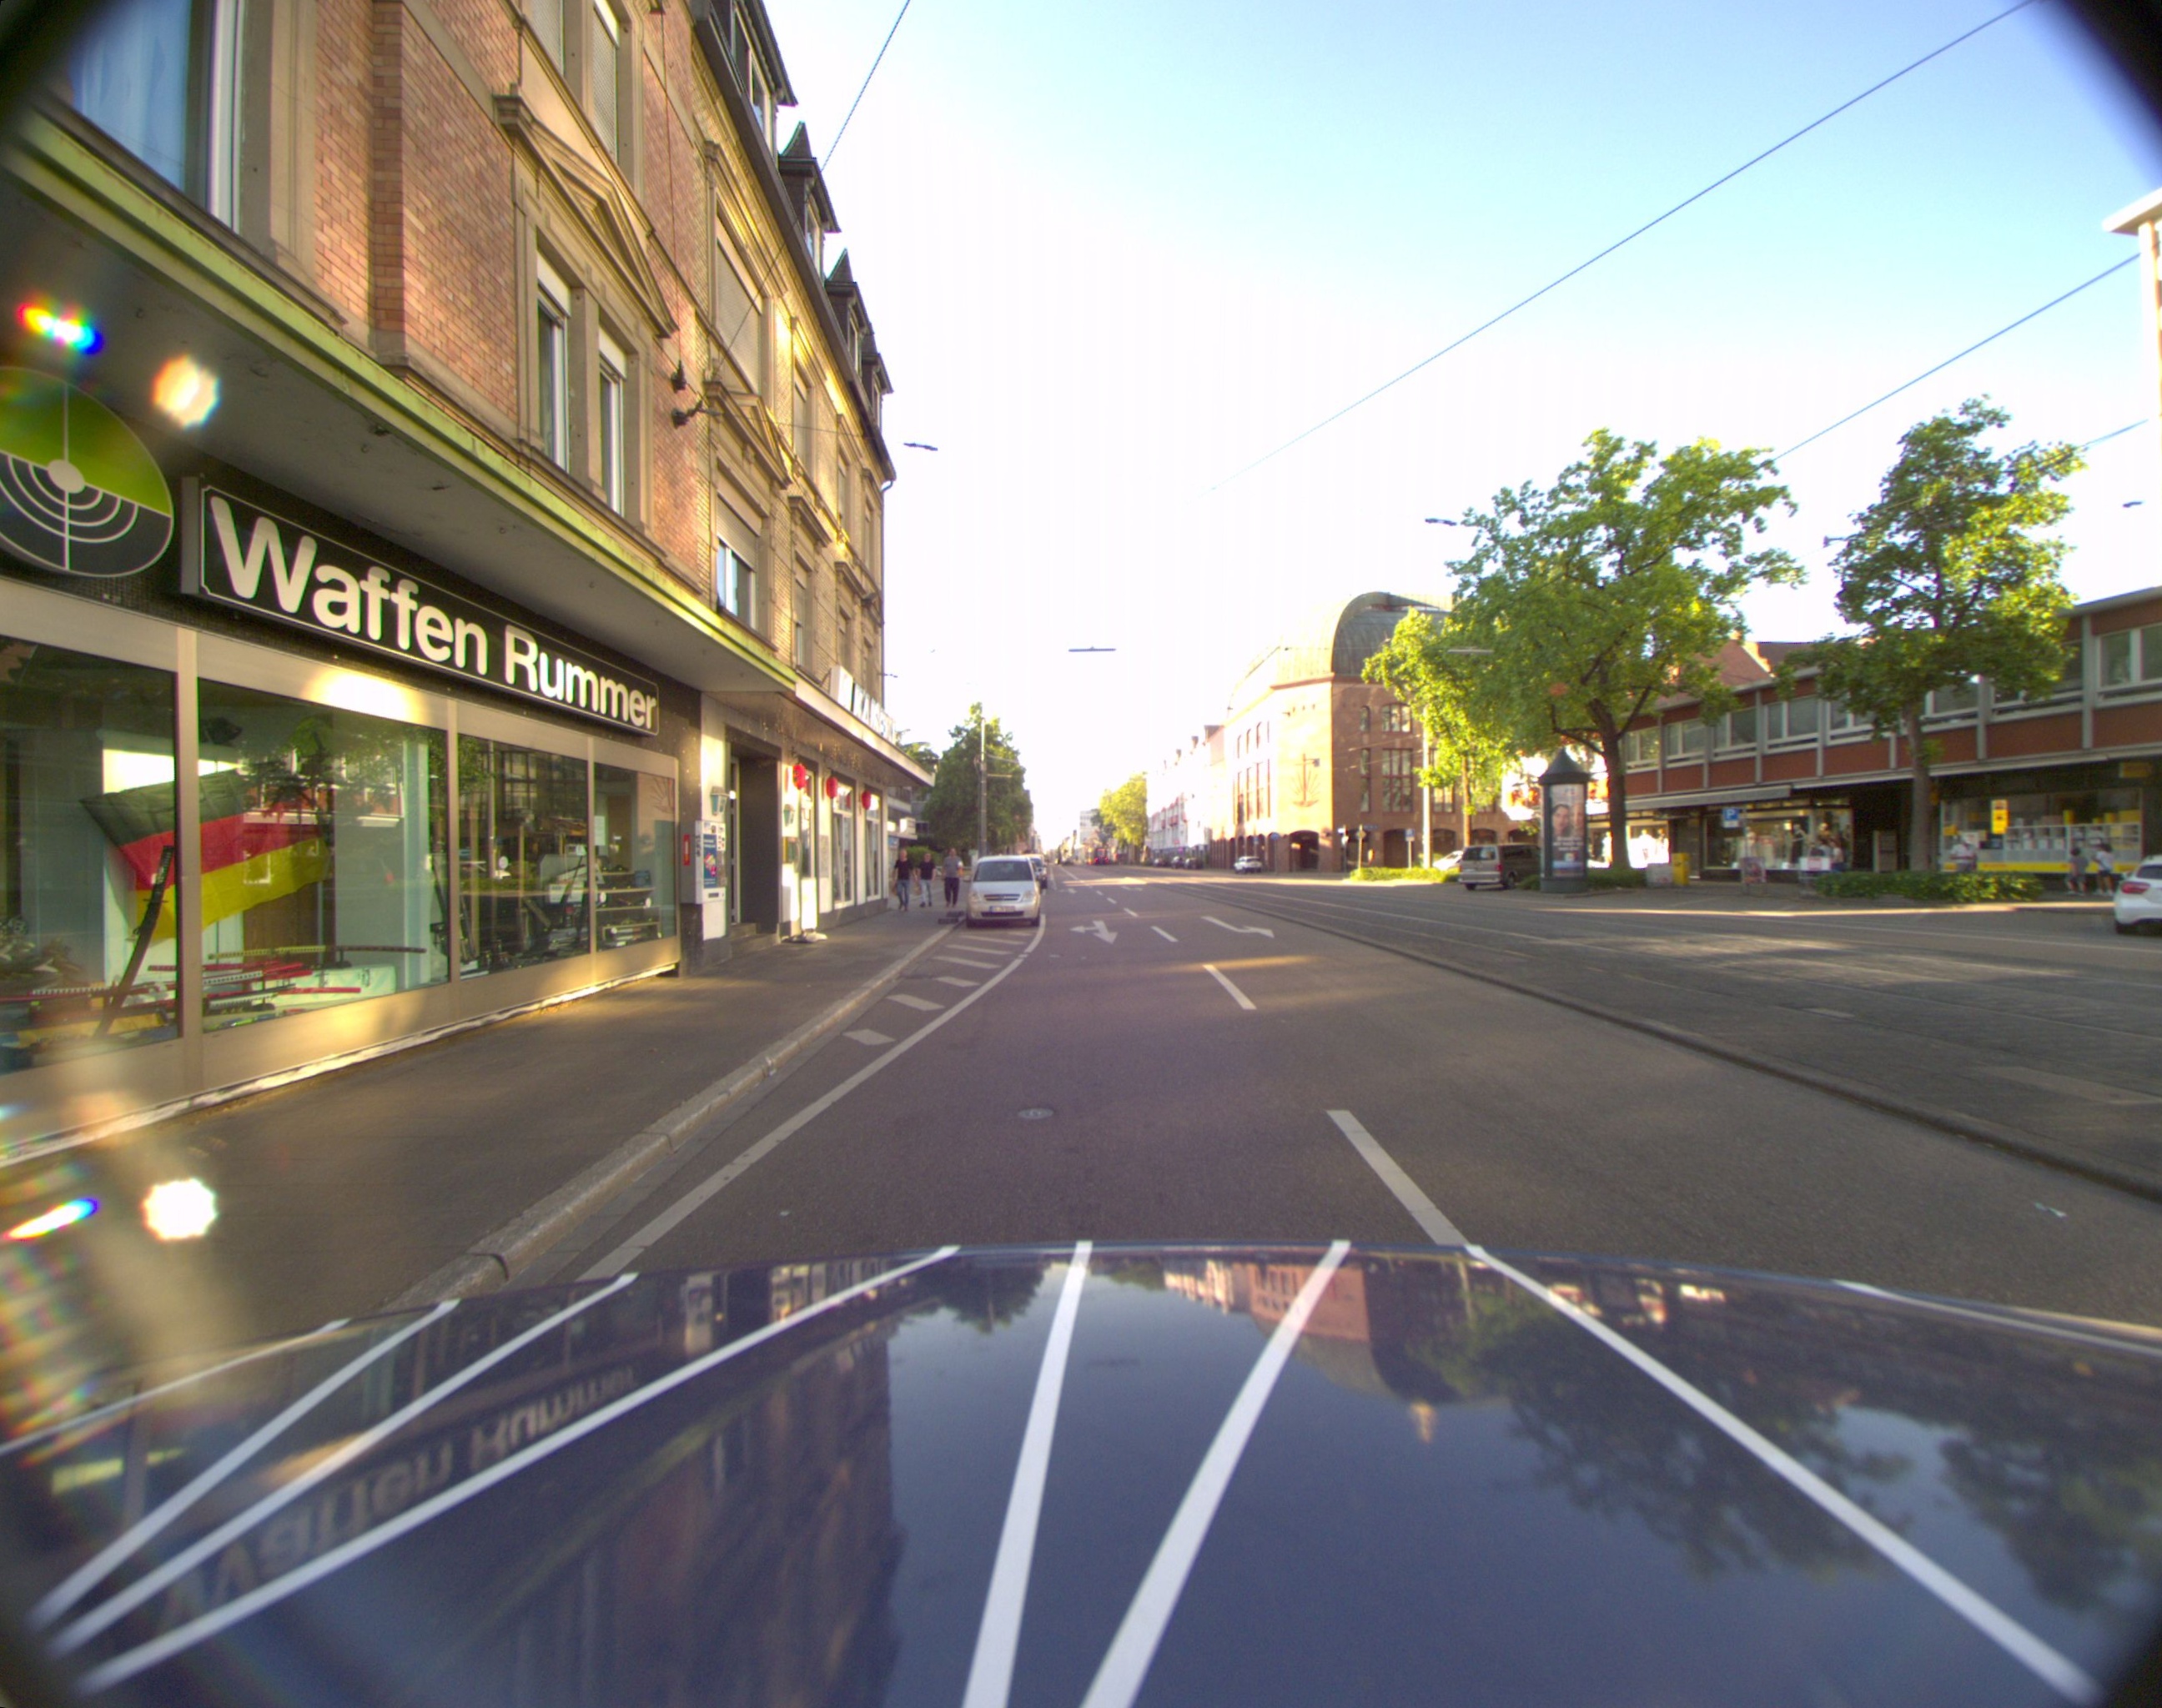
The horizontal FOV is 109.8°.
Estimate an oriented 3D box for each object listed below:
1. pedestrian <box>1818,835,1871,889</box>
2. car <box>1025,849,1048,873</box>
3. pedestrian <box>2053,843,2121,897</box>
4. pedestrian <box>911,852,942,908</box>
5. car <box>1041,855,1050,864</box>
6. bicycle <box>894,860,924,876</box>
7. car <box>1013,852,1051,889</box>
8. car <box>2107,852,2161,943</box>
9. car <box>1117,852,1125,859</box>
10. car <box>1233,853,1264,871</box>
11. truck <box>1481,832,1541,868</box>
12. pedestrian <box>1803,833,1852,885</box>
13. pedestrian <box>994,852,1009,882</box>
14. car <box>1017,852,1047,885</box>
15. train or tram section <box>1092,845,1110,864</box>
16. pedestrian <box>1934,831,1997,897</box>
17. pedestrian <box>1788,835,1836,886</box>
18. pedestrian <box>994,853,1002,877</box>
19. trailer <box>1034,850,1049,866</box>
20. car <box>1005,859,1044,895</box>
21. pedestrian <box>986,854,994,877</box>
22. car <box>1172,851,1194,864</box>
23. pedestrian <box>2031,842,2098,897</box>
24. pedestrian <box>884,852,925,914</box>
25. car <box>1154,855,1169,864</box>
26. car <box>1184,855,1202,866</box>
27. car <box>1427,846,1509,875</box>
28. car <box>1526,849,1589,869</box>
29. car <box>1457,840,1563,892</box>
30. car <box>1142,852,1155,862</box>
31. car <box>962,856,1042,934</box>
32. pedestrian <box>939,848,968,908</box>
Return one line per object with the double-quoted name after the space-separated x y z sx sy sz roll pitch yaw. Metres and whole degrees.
26.528 0.274 26.410 0.919 1.867 0.900 -1 1 -5 "pedestrian"
-4.061 0.633 69.916 1.882 2.009 4.904 -2 0 -2 "car"
27.980 0.427 21.142 0.689 1.462 0.900 -1 0 -5 "pedestrian"
-4.920 0.796 24.191 0.813 1.746 1.032 0 1 -3 "pedestrian"
-5.753 0.858 124.328 1.420 1.425 3.871 -2 0 -3 "car"
-11.926 0.963 52.702 2.020 1.089 0.637 1 0 -9 "bicycle"
-2.575 0.843 40.540 1.825 1.747 4.473 -2 1 -3 "car"
20.645 0.753 14.046 4.276 1.421 1.762 -3 1 -33 "car"
11.212 0.400 211.812 1.861 1.914 3.999 0 0 -1 "car"
15.567 0.698 70.694 1.600 1.581 4.276 -3 0 -4 "car"
34.193 -0.279 60.519 1.856 2.747 4.528 -1 0 -7 "truck"
28.070 0.182 28.581 0.996 1.937 0.900 -1 1 -5 "pedestrian"
-4.723 0.763 45.210 0.789 1.727 0.945 -1 1 -3 "pedestrian"
-2.902 0.807 45.257 1.680 1.797 4.247 -2 0 -3 "car"
3.893 0.070 149.172 2.683 3.530 12.837 0 0 -3 "train or tram section"
25.746 0.289 22.137 0.917 1.867 0.902 0 1 26 "pedestrian"
27.004 0.238 28.084 0.919 1.867 0.900 -1 1 -5 "pedestrian"
-6.146 0.806 56.290 0.494 1.703 0.437 2 1 -3 "pedestrian"
-5.386 0.510 105.038 1.784 2.136 5.315 -2 0 0 "trailer"
-2.590 1.012 35.288 1.642 1.484 3.793 -3 0 -4 "car"
-6.740 0.823 56.471 0.494 1.703 0.437 2 1 -3 "pedestrian"
13.978 0.449 104.285 1.964 1.690 4.559 -2 0 -4 "car"
27.276 0.416 21.086 0.689 1.488 0.900 -1 0 -5 "pedestrian"
-5.030 0.805 21.713 0.903 1.703 1.032 2 0 -3 "pedestrian"
13.056 0.885 123.174 1.829 1.500 4.559 -2 0 -2 "car"
14.348 0.819 97.483 1.646 1.392 3.682 -2 0 -2 "car"
28.541 0.437 56.127 4.993 1.957 2.130 -1 3 -4 "car"
38.042 0.397 60.756 1.856 1.564 4.528 -1 0 -7 "car"
18.597 0.467 32.832 5.130 1.918 1.849 -3 2 -34 "car"
12.308 0.618 139.059 1.931 1.787 4.383 -1 0 1 "car"
-1.809 0.884 18.193 1.642 1.605 3.943 -1 0 -4 "car"
-4.098 0.751 24.546 0.796 1.888 1.032 0 1 -3 "pedestrian"
